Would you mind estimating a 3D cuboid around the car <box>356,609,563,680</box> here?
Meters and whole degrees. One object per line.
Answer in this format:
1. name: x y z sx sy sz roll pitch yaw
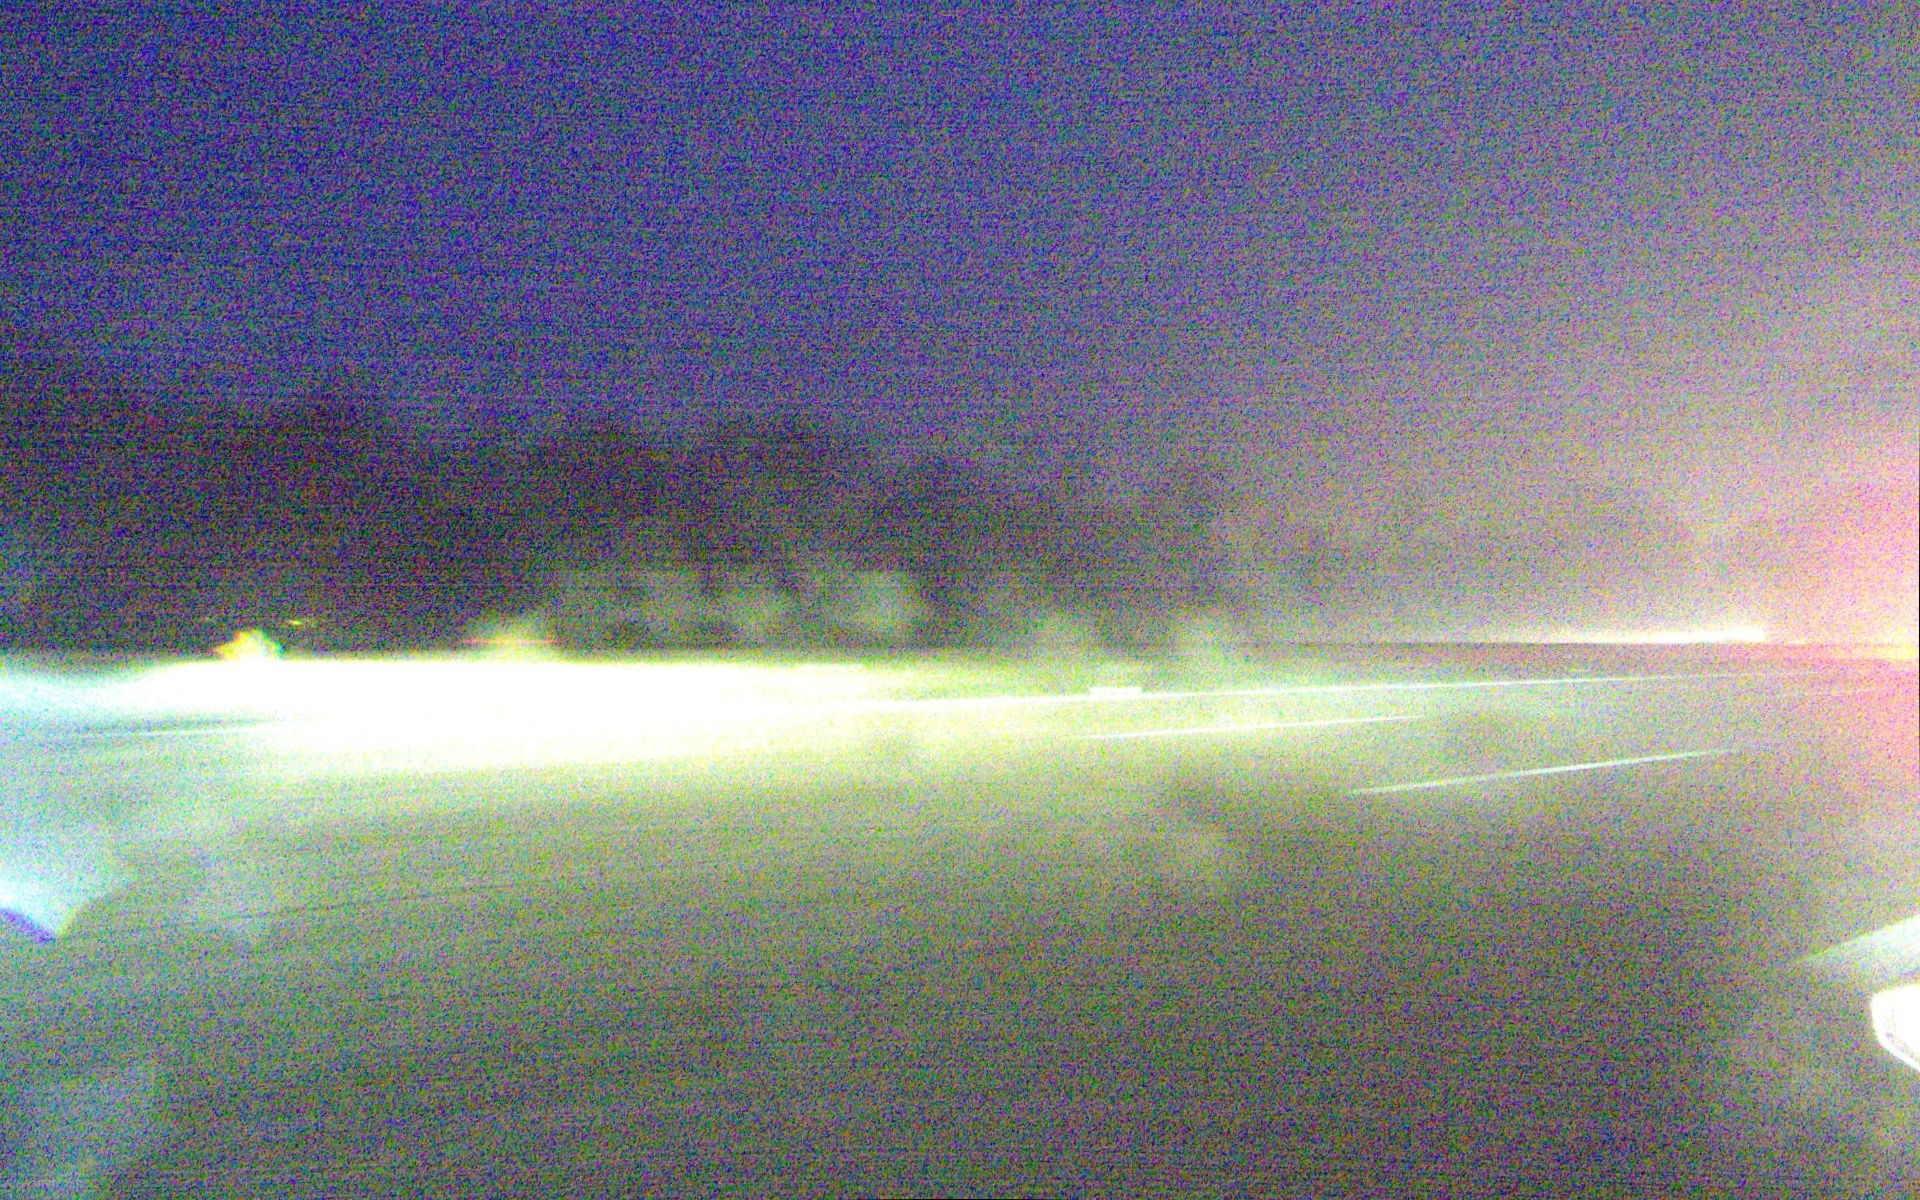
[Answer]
1. car: -12.343 1.087 24.857 4.410 1.578 1.870 2 0 -31
